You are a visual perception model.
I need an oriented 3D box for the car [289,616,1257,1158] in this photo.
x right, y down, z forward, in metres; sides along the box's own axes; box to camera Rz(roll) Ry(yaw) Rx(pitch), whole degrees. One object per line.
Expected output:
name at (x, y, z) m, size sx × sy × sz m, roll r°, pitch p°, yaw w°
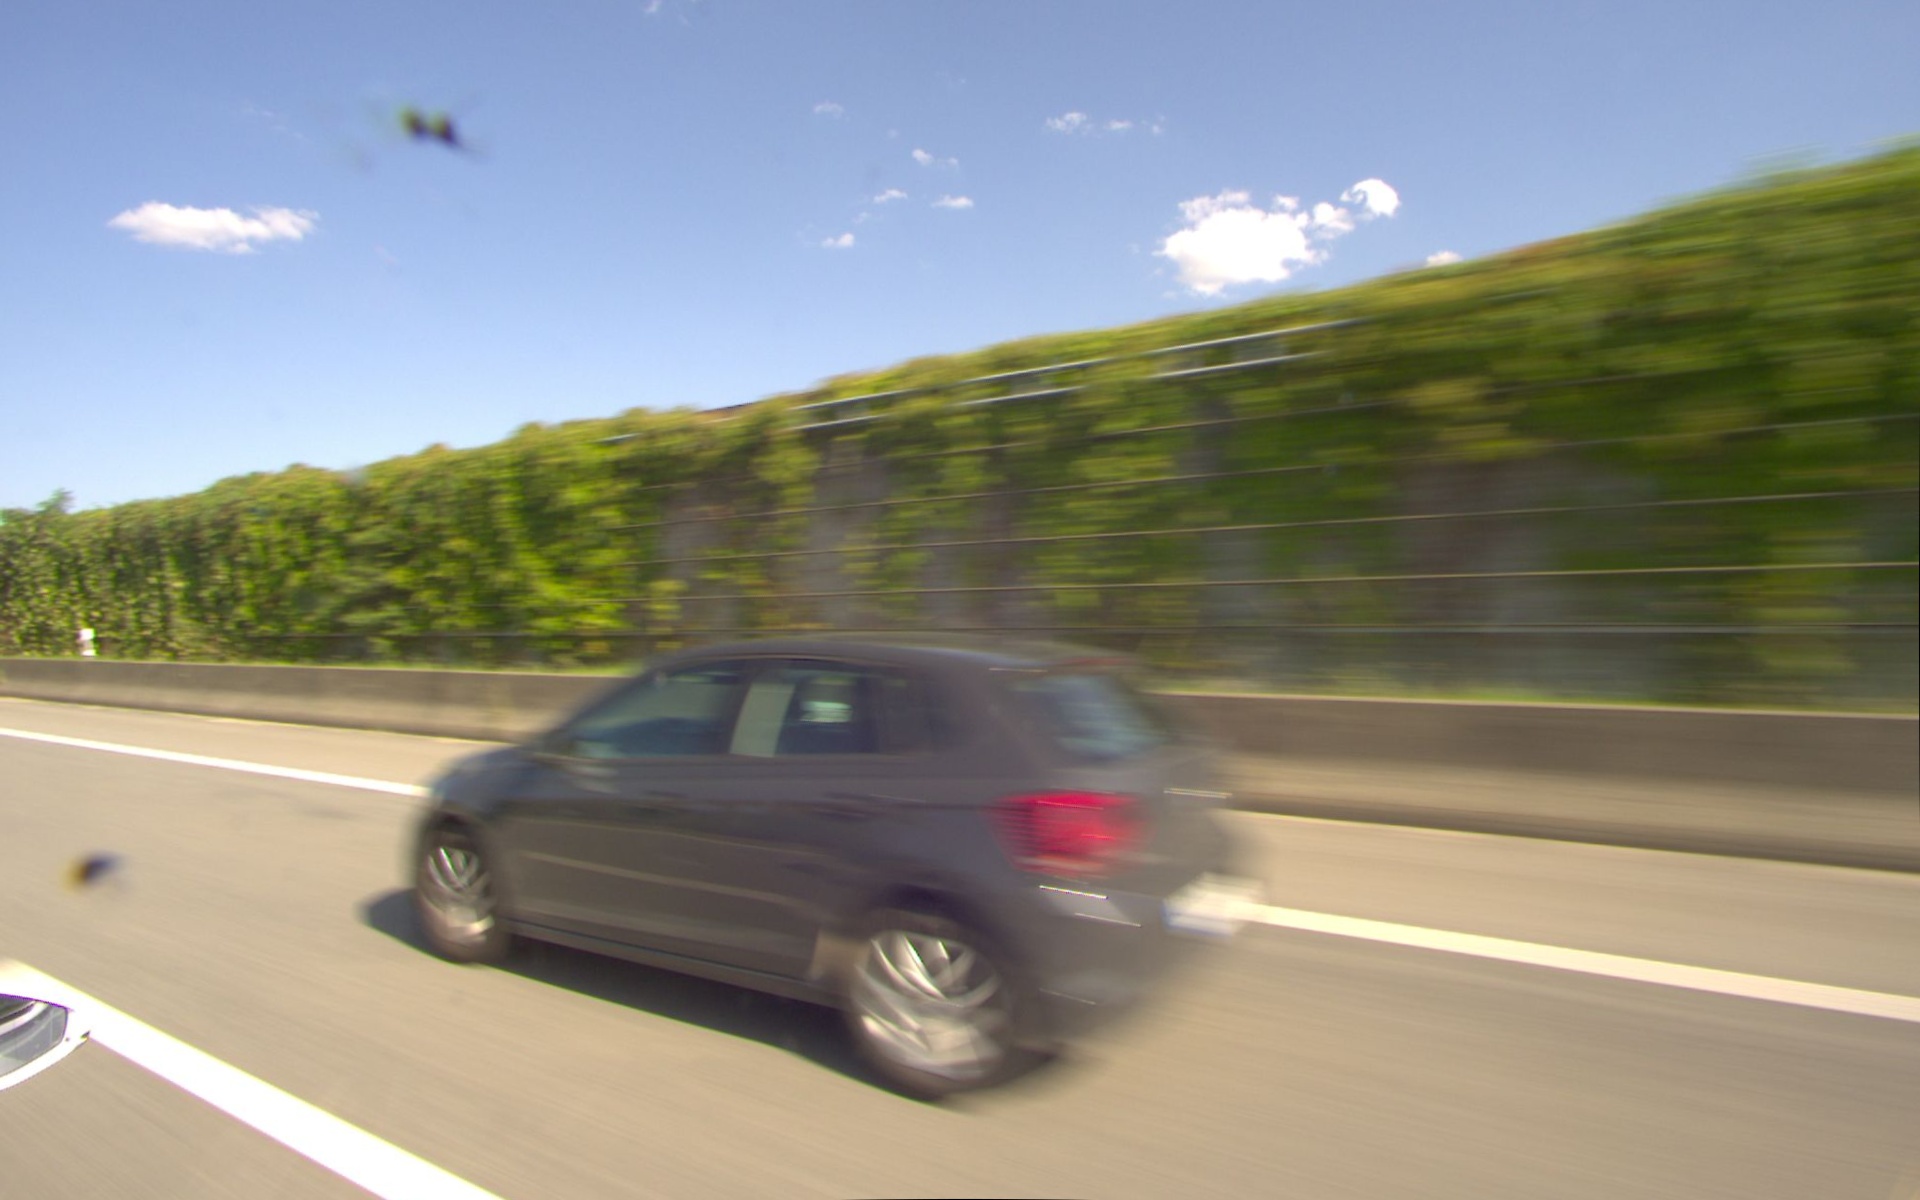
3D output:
car at (-1.101, 0.831, 4.630) m, size 4.479 × 1.473 × 1.662 m, roll -1°, pitch -1°, yaw 32°
